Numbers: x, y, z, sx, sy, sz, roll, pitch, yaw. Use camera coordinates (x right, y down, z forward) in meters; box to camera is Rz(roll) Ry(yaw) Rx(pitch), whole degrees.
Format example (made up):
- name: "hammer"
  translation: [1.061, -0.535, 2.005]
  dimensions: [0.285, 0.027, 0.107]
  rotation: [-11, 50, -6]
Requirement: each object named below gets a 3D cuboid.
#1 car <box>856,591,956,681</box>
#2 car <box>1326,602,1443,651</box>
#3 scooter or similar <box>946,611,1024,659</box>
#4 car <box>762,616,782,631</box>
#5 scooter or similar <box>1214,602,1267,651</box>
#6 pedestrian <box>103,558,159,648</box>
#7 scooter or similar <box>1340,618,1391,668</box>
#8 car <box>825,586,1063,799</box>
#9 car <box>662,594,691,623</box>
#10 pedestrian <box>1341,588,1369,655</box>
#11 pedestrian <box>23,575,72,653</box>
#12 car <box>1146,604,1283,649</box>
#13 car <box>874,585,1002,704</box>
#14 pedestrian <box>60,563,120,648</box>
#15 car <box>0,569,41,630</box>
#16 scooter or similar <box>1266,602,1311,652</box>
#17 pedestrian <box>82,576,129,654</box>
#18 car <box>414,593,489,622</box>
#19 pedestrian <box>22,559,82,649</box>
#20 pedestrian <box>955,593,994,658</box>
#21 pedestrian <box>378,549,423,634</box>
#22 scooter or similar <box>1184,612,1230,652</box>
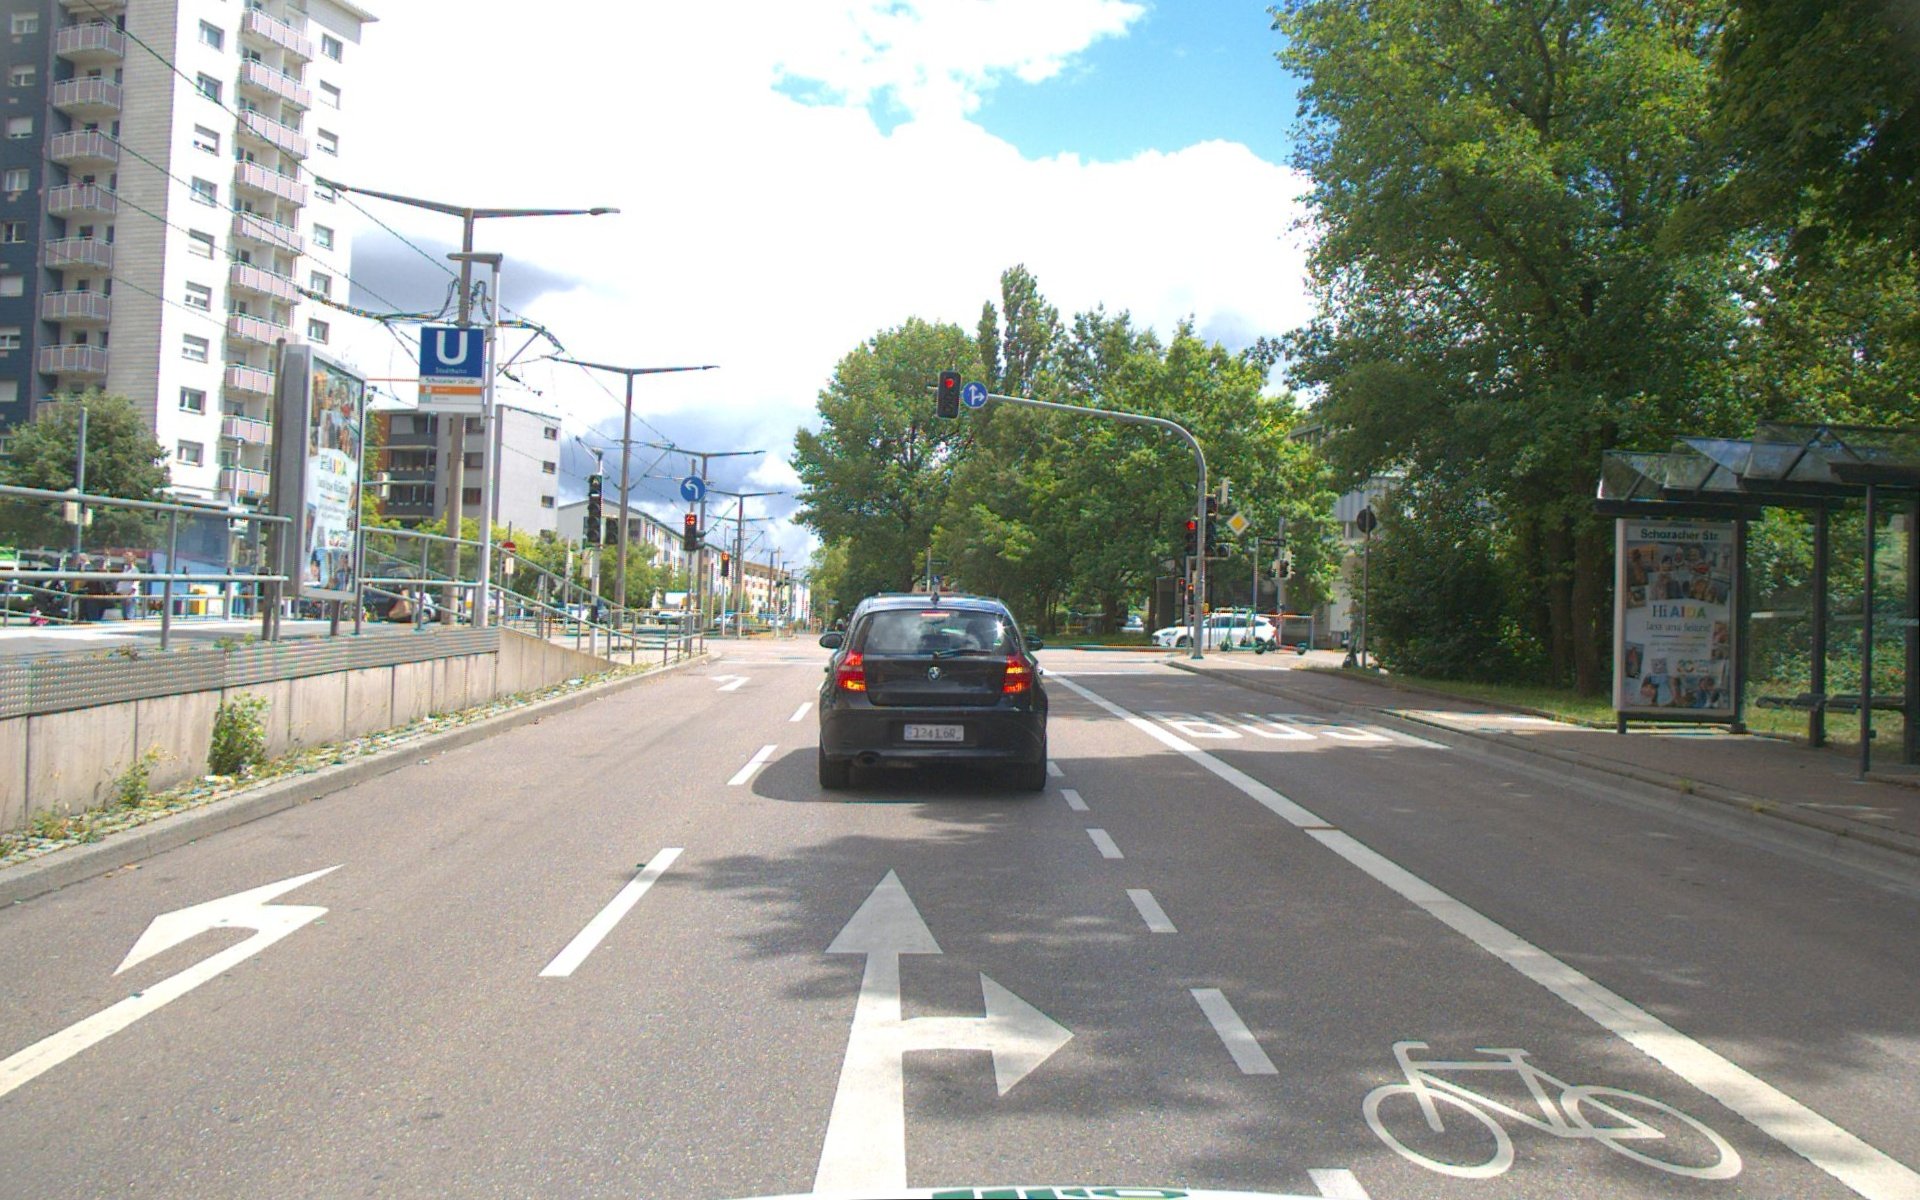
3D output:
- name: "car"
  translation: [-0.957, 0.585, 28.892]
  dimensions: [1.621, 1.443, 3.515]
  rotation: [1, 0, -3]
- name: "car"
  translation: [14.594, 0.917, 56.915]
  dimensions: [3.515, 1.628, 1.706]
  rotation: [1, 0, -13]
- name: "scooter or similar"
  translation: [0.566, 0.791, 37.496]
  dimensions: [1.745, 1.069, 0.410]
  rotation: [1, 0, -5]
- name: "car"
  translation: [-21.253, 2.614, 186.926]
  dimensions: [1.927, 1.624, 3.997]
  rotation: [1, 0, -3]
- name: "scooter or similar"
  translation: [7.033, 0.671, 41.518]
  dimensions: [1.267, 1.210, 0.383]
  rotation: [1, 0, -17]
- name: "pedestrian"
  translation: [-16.363, 0.053, 32.659]
  dimensions: [0.666, 1.736, 0.826]
  rotation: [1, 0, -3]
- name: "scooter or similar"
  translation: [9.108, 0.964, 37.136]
  dimensions: [1.133, 1.118, 0.329]
  rotation: [1, 0, -25]
- name: "car"
  translation: [-0.087, 0.628, 13.145]
  dimensions: [1.620, 1.443, 3.517]
  rotation: [1, 0, 1]
- name: "car"
  translation: [-27.301, 0.787, 159.365]
  dimensions: [2.096, 2.686, 5.356]
  rotation: [1, 0, -2]
- name: "pedestrian"
  translation: [11.074, 0.613, 46.336]
  dimensions: [0.600, 1.821, 0.569]
  rotation: [4, 0, 17]
- name: "pedestrian"
  translation: [-16.240, 0.247, 29.429]
  dimensions: [0.656, 1.366, 0.551]
  rotation: [1, 0, 41]
- name: "car"
  translation: [9.096, 0.941, 59.227]
  dimensions: [4.491, 1.553, 1.939]
  rotation: [0, 0, -12]
- name: "car"
  translation: [-0.282, 0.541, 22.098]
  dimensions: [1.562, 1.443, 3.517]
  rotation: [1, 0, 0]
- name: "pedestrian"
  translation: [-16.718, 0.096, 31.803]
  dimensions: [0.842, 1.605, 0.622]
  rotation: [1, 0, -10]
- name: "car"
  translation: [-33.550, -0.021, 56.434]
  dimensions: [3.663, 2.049, 1.799]
  rotation: [0, 0, -25]
- name: "scooter or similar"
  translation: [8.420, 0.686, 42.408]
  dimensions: [1.087, 1.280, 0.331]
  rotation: [1, 0, -13]
- name: "pedestrian"
  translation: [-15.215, 0.261, 29.456]
  dimensions: [0.680, 1.366, 0.851]
  rotation: [1, 0, -31]
- name: "car"
  translation: [-26.478, 0.393, 86.187]
  dimensions: [3.537, 1.488, 1.613]
  rotation: [1, 0, -10]
- name: "pedestrian"
  translation: [-16.638, 0.070, 30.327]
  dimensions: [0.595, 1.611, 0.775]
  rotation: [1, 0, 6]
- name: "pedestrian"
  translation: [0.333, 0.574, 37.931]
  dimensions: [0.847, 1.468, 0.799]
  rotation: [1, 0, 3]
- name: "pedestrian"
  translation: [-11.085, -0.164, 32.776]
  dimensions: [0.686, 1.661, 0.638]
  rotation: [0, 0, -1]
- name: "scooter or similar"
  translation: [6.023, 0.779, 40.323]
  dimensions: [1.102, 0.974, 0.299]
  rotation: [1, 0, -17]
